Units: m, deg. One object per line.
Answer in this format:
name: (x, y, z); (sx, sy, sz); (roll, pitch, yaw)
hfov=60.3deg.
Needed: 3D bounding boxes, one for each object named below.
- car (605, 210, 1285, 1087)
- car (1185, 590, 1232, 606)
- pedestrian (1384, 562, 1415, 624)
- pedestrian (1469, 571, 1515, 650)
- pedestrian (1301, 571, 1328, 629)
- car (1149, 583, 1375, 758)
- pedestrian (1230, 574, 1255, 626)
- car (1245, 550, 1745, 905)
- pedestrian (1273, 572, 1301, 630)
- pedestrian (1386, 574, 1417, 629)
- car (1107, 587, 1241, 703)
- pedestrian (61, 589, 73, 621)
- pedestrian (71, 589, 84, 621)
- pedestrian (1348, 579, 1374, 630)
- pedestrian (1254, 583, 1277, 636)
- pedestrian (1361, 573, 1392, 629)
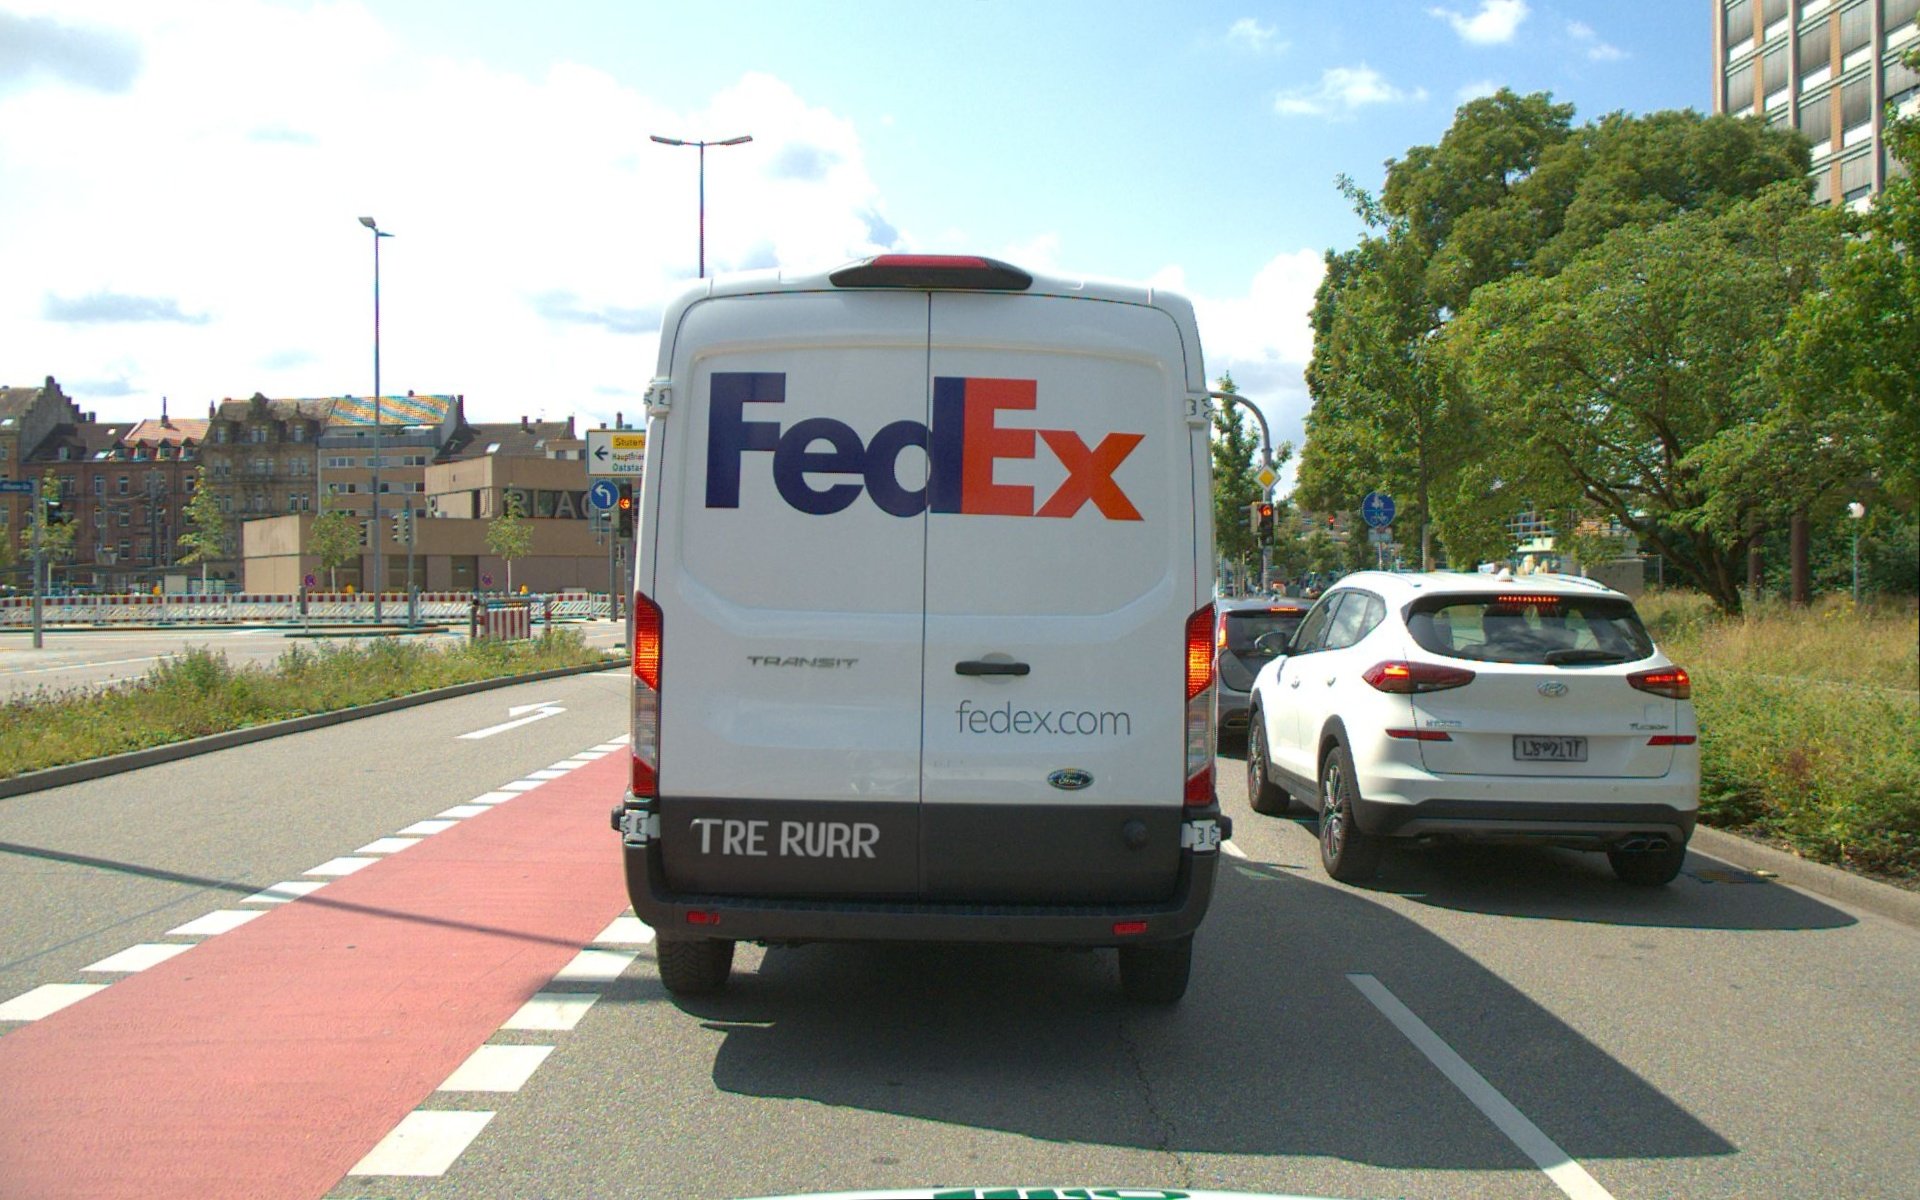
car: (-0.016, 0.123, 7.188); (2.030, 2.626, 4.428); (0, 1, 1)
car: (23.777, -0.218, 158.283); (4.147, 1.524, 1.740); (0, 1, -1)
pedestrian: (13.085, -0.202, 49.268); (0.743, 1.820, 0.816); (0, 0, 3)
pedestrian: (11.514, 0.219, 35.802); (0.743, 1.684, 0.816); (0, 0, 3)
pedestrian: (11.645, -0.010, 54.326); (0.743, 1.882, 0.816); (0, 0, 3)
car: (2.944, 0.618, 16.832); (1.656, 1.576, 3.721); (0, 1, 1)
pedestrian: (10.258, 0.002, 60.087); (0.796, 1.882, 0.761); (0, 0, 2)
car: (2.932, 0.594, 9.990); (1.777, 1.708, 3.974); (0, 1, 1)
pedestrian: (10.690, 0.035, 54.049); (0.743, 1.882, 0.816); (0, 0, 1)
pedestrian: (15.090, 0.047, 56.533); (0.745, 1.882, 0.814); (0, 0, -9)
car: (2.948, 0.569, 23.314); (1.468, 1.489, 3.474); (0, 1, 1)
pedestrian: (-47.029, 0.255, 87.093); (0.416, 1.681, 0.416); (1, -1, 33)
pedestrian: (-46.283, 0.267, 86.714); (0.416, 1.681, 0.416); (1, -1, 33)
pedestrian: (14.902, 0.147, 61.484); (0.743, 1.882, 0.816); (0, 0, 1)
pedestrian: (10.939, 0.347, 59.197); (0.742, 1.882, 0.817); (0, 0, 14)
pedestrian: (14.133, 0.028, 56.167); (0.745, 1.882, 0.814); (-1, 0, -11)
